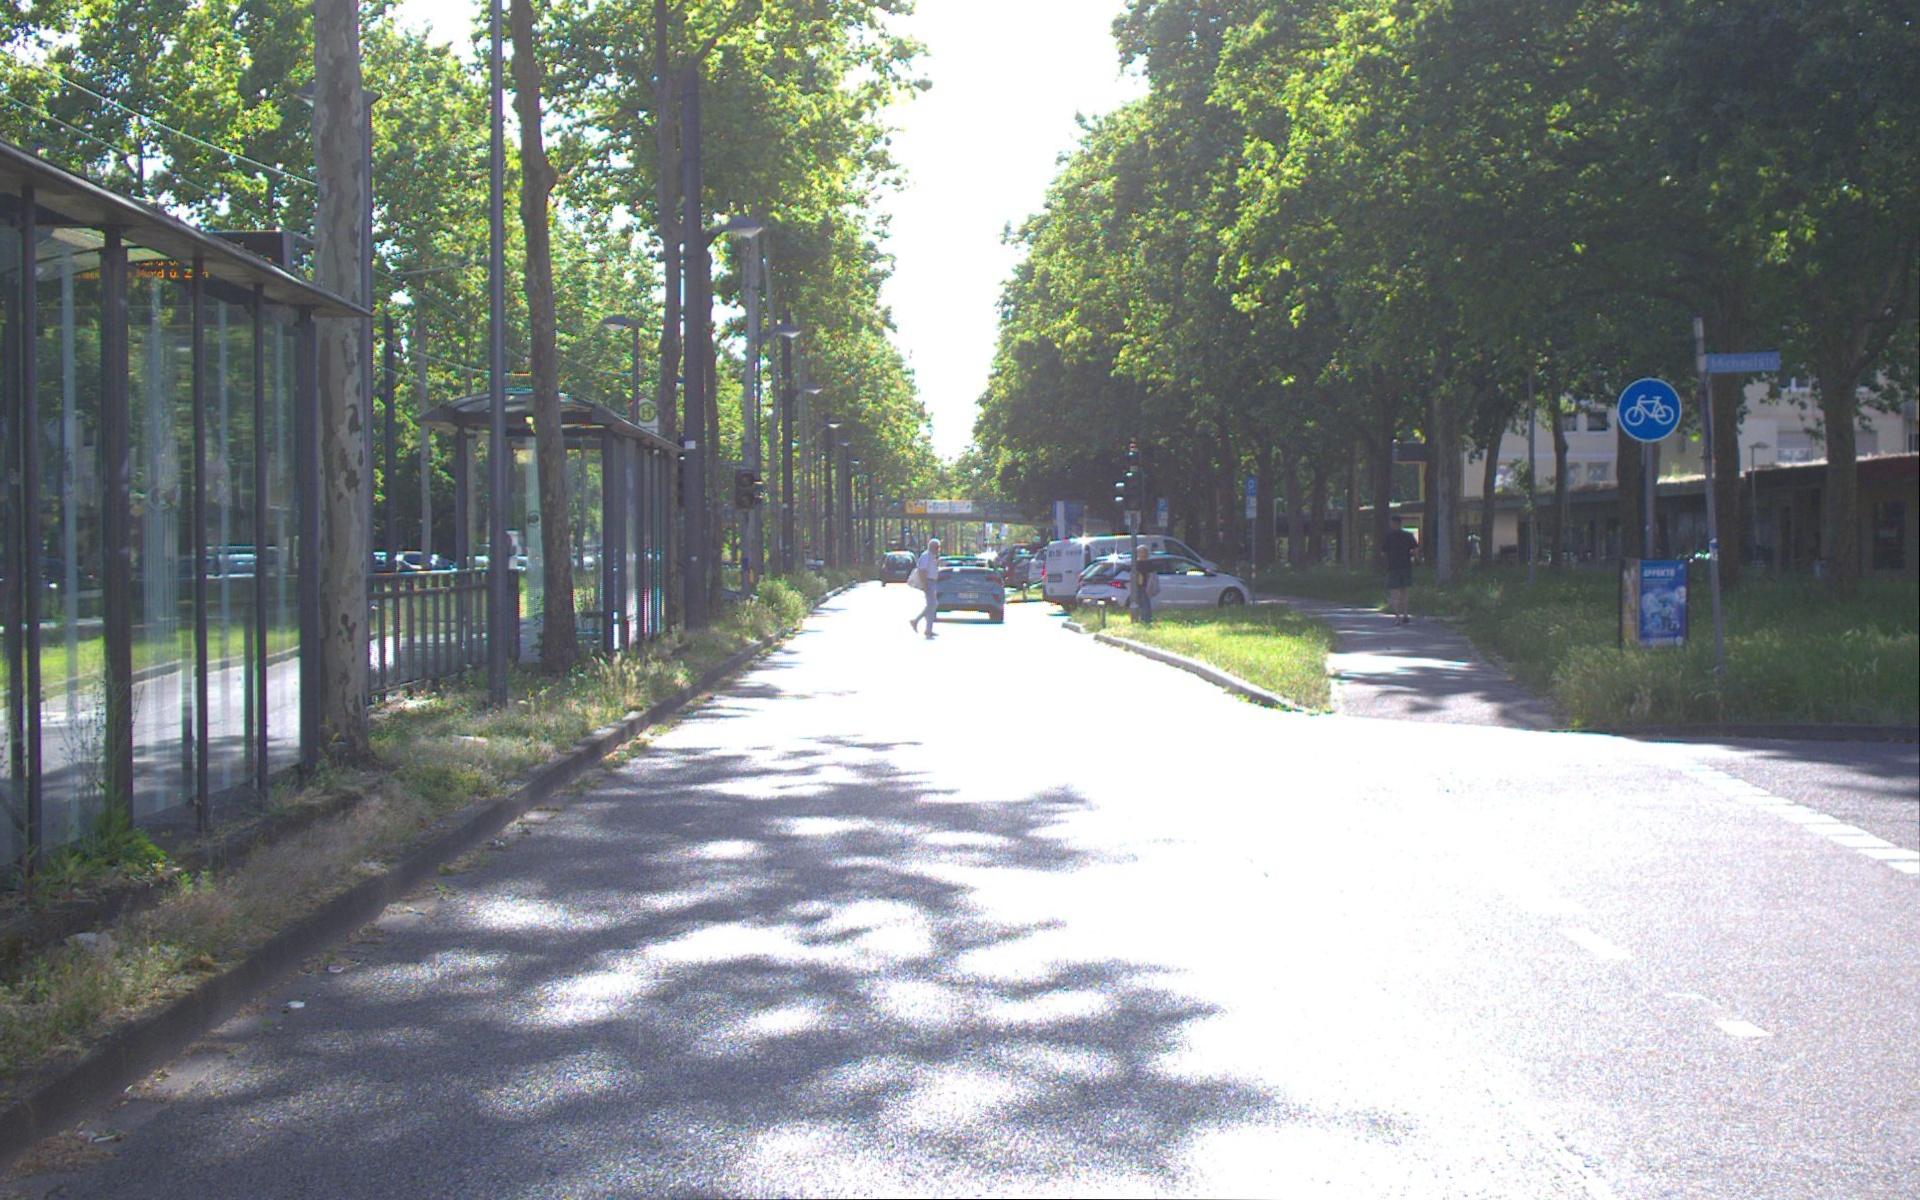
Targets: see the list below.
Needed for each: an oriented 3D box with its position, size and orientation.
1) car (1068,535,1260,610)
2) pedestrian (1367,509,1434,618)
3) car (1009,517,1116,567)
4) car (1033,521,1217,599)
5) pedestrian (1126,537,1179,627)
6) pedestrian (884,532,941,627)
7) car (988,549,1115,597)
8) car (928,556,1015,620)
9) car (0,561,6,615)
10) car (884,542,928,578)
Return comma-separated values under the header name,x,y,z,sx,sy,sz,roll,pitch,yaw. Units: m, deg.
name,x,y,z,sx,sy,sz,roll,pitch,yaw
car,4.607,-0.631,77.547,3.986,1.464,1.761,-4,2,-32
pedestrian,7.688,-0.639,60.082,0.925,1.878,0.800,-1,1,-14
car,4.006,-2.261,133.777,4.073,1.804,1.650,-2,1,-40
car,4.242,-1.038,87.820,4.657,1.846,1.830,-2,1,-41
pedestrian,3.687,-0.344,65.787,0.710,1.700,0.654,-2,1,-35
pedestrian,-0.863,-0.376,63.086,0.842,1.716,0.829,0,1,14
car,2.840,-0.844,106.051,3.928,1.368,1.587,-3,1,-44
car,0.249,-0.294,79.899,1.922,1.406,4.000,0,1,-1
car,-24.163,-0.237,79.147,3.815,1.242,1.840,-2,2,-43
car,-2.309,-1.731,148.842,1.849,1.530,3.866,0,1,0
